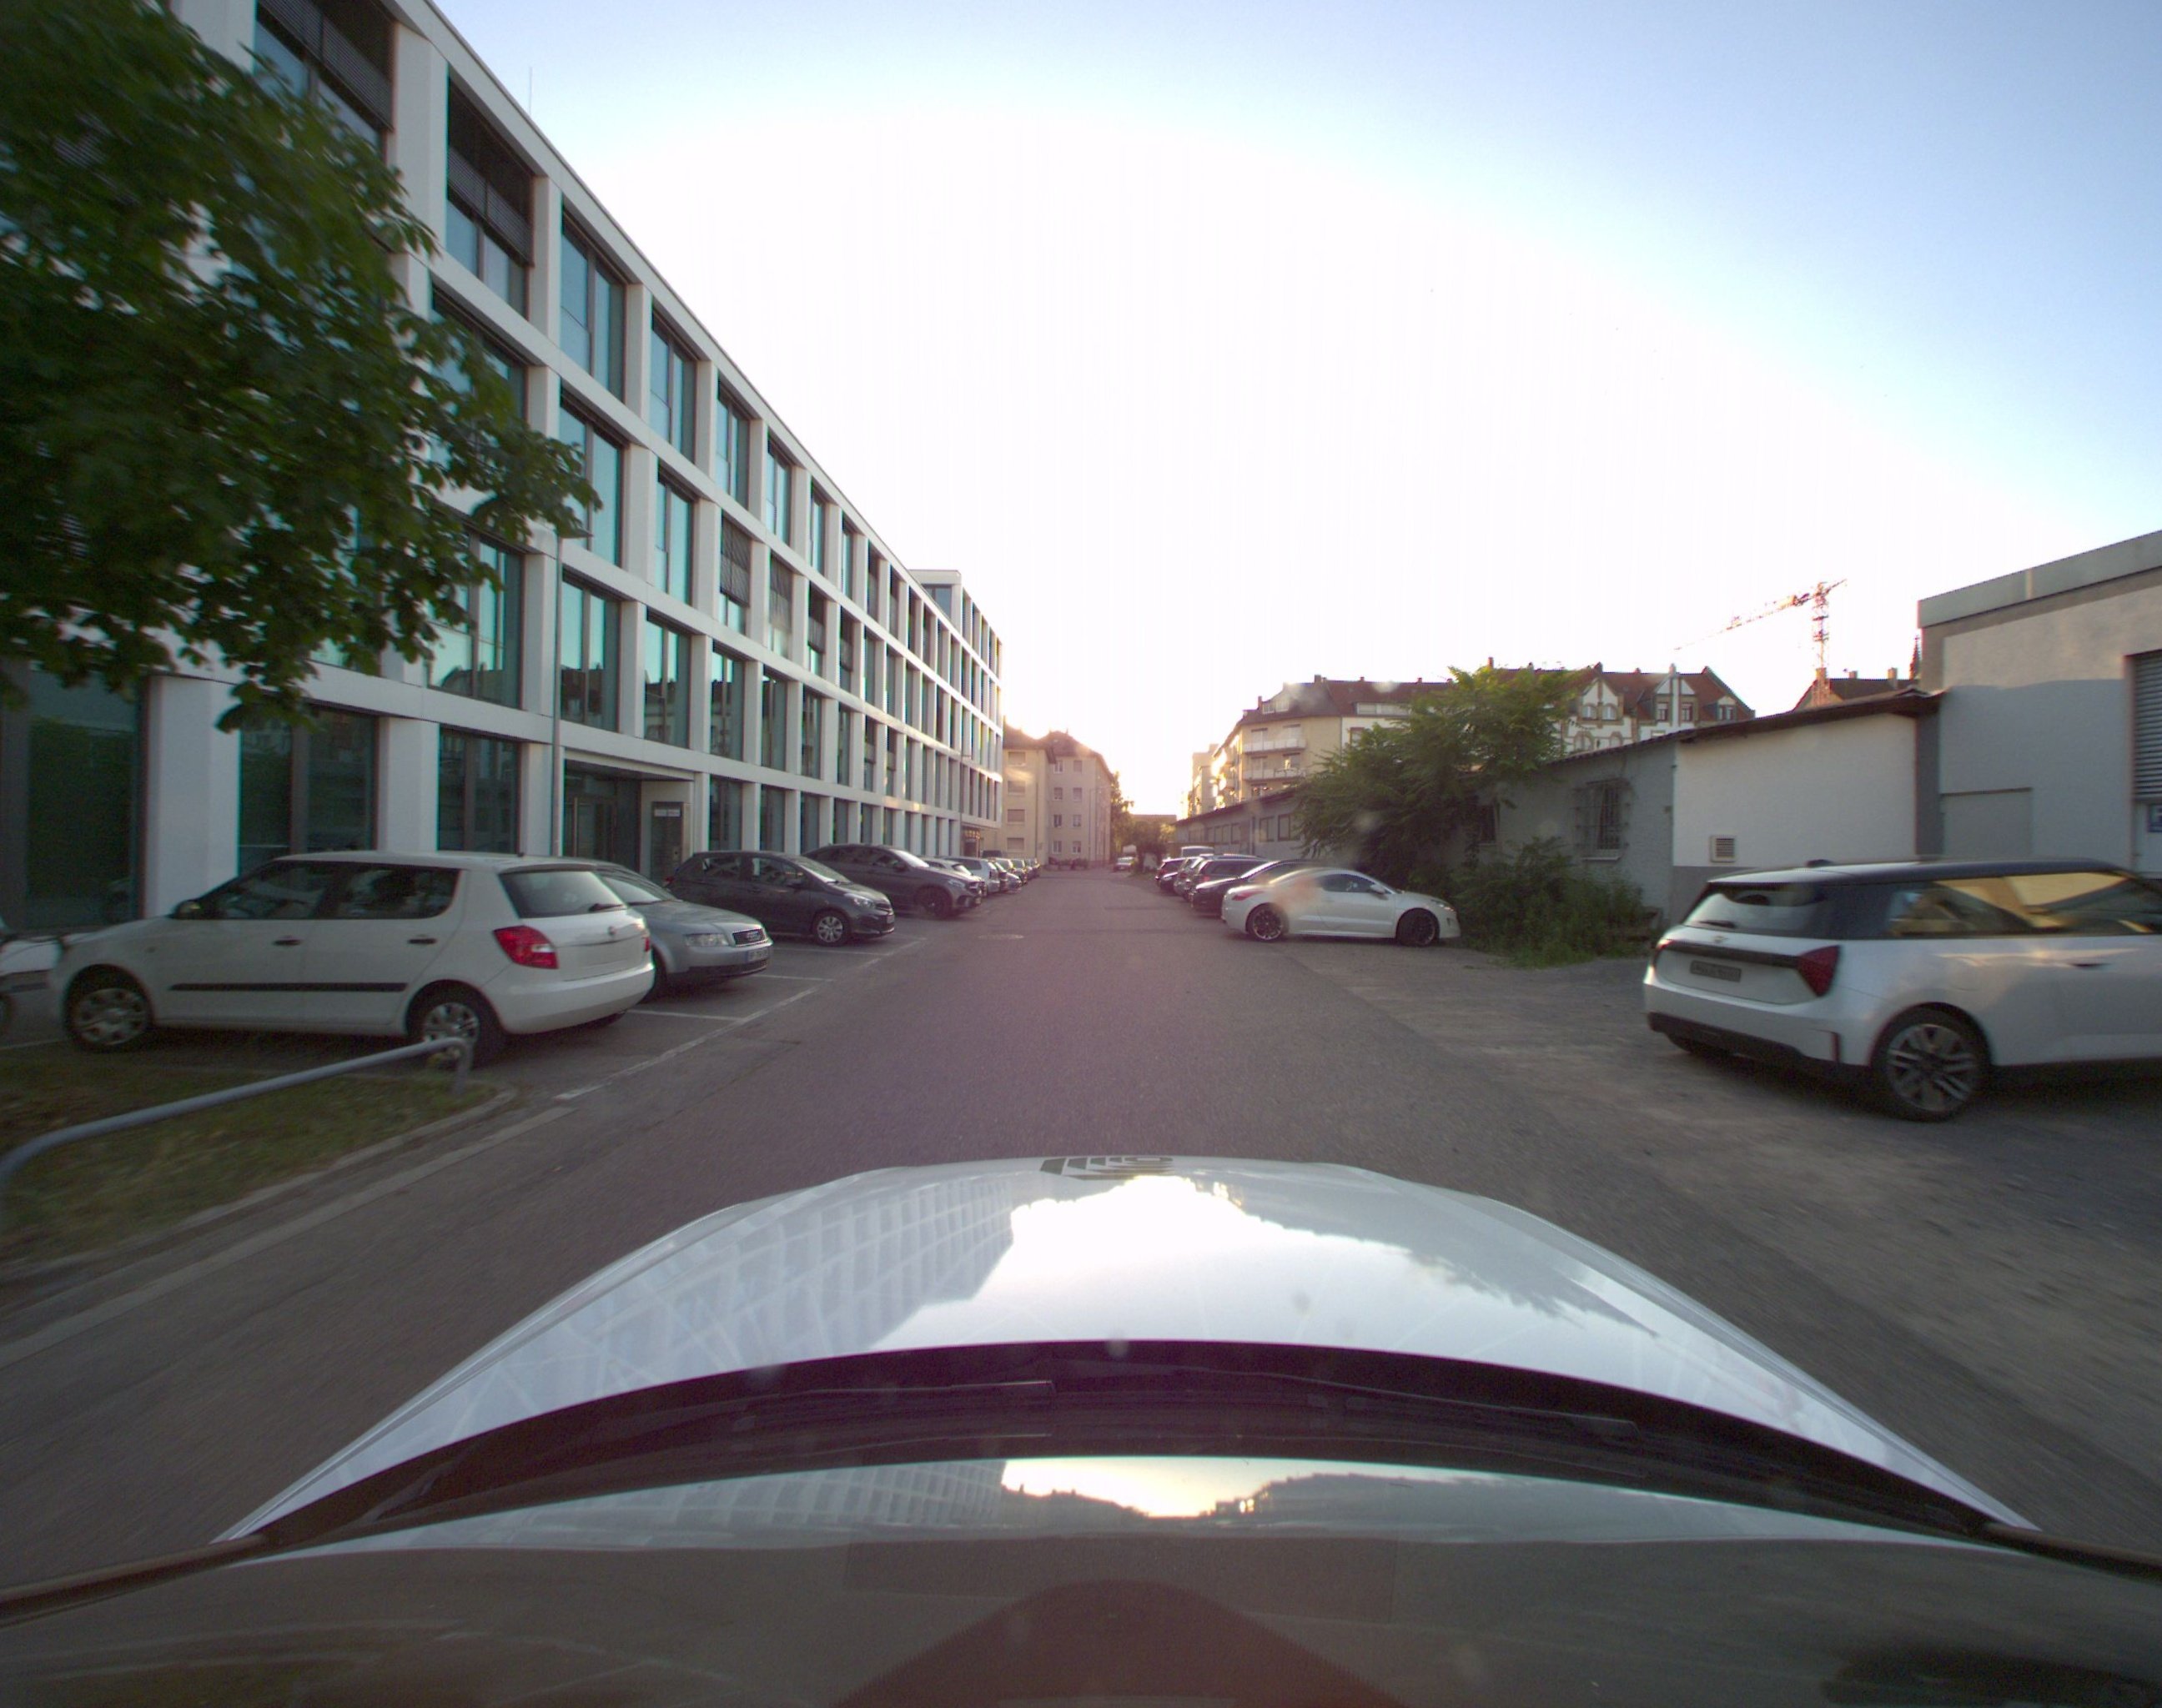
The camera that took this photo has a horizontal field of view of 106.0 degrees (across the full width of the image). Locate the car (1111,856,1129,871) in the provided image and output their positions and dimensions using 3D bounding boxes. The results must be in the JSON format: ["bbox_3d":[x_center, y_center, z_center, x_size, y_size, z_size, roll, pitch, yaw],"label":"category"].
[{"bbox_3d":[4.171,1.003,86.517,1.837,1.473,4.081,0,0,3],"label":"car"}]

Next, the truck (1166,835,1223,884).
[{"bbox_3d":[5.395,0.250,39.504,2.090,2.200,5.712,1,0,1],"label":"truck"}]

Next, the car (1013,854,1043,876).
[{"bbox_3d":[-3.873,0.783,60.233,1.773,1.479,4.332,4,0,1],"label":"car"}]

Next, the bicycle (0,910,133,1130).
[{"bbox_3d":[-5.988,0.855,4.408,0.677,0.915,1.892,1,1,-36],"label":"bicycle"}]

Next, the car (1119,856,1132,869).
[{"bbox_3d":[5.442,1.047,99.499,1.609,1.473,3.508,-1,0,3],"label":"car"}]

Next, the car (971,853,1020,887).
[{"bbox_3d":[-4.060,0.742,39.172,1.641,1.438,4.204,4,0,2],"label":"car"}]

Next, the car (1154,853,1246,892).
[{"bbox_3d":[5.095,0.768,35.280,3.744,1.535,1.893,1,1,2],"label":"car"}]

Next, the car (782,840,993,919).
[{"bbox_3d":[-4.683,0.577,20.125,4.595,1.706,2.008,2,0,6],"label":"car"}]

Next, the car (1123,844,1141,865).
[{"bbox_3d":[8.302,0.168,131.896,2.607,3.269,7.707,-1,0,5],"label":"car"}]

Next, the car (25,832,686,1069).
[{"bbox_3d":[-5.409,0.644,6.422,3.693,1.495,1.709,2,0,3],"label":"car"}]

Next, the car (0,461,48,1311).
[{"bbox_3d":[-6.092,0.042,1.738,5.357,2.632,2.081,2,0,4],"label":"car"}]

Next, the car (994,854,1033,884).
[{"bbox_3d":[-3.690,0.797,45.010,1.642,1.438,4.185,4,0,1],"label":"car"}]

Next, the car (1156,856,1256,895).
[{"bbox_3d":[4.969,0.847,32.847,3.747,1.444,1.845,2,-1,0],"label":"car"}]

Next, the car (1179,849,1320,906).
[{"bbox_3d":[5.193,0.714,25.398,3.974,1.619,1.825,2,0,-2],"label":"car"}]

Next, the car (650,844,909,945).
[{"bbox_3d":[-5.066,0.650,14.030,3.768,1.522,1.694,2,0,1],"label":"car"}]

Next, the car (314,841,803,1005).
[{"bbox_3d":[-5.576,0.667,9.035,4.288,1.495,1.797,2,0,4],"label":"car"}]

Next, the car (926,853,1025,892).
[{"bbox_3d":[-4.503,0.758,35.039,3.909,1.511,1.689,2,0,4],"label":"car"}]

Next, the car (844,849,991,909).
[{"bbox_3d":[-4.519,0.673,22.811,3.647,1.511,1.699,2,0,6],"label":"car"}]

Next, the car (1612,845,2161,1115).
[{"bbox_3d":[5.927,0.692,5.416,3.693,1.479,1.712,-1,0,-1],"label":"car"}]

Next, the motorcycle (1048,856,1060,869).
[{"bbox_3d":[-2.802,0.875,84.600,0.718,1.264,2.089,1,0,15],"label":"motorcycle"}]

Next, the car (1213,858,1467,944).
[{"bbox_3d":[4.634,0.819,15.087,4.183,1.367,1.826,1,0,5],"label":"car"}]

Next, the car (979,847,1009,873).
[{"bbox_3d":[-6.990,0.475,65.546,1.791,1.979,4.690,1,1,1],"label":"car"}]

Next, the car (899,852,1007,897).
[{"bbox_3d":[-4.700,0.738,30.266,3.639,1.511,1.689,2,0,3],"label":"car"}]

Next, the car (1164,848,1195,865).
[{"bbox_3d":[16.086,0.363,132.810,4.799,2.717,2.136,-1,-1,1],"label":"car"}]

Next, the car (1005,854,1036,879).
[{"bbox_3d":[-4.002,0.828,54.553,1.705,1.479,4.182,4,0,-1],"label":"car"}]

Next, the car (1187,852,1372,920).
[{"bbox_3d":[4.825,0.766,20.247,4.185,1.503,1.891,1,-1,3],"label":"car"}]

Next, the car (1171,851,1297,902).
[{"bbox_3d":[5.185,0.750,28.004,3.971,1.609,1.939,2,0,0],"label":"car"}]

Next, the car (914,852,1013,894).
[{"bbox_3d":[-4.684,0.738,32.734,3.639,1.511,1.689,2,0,3],"label":"car"}]

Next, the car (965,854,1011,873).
[{"bbox_3d":[-8.556,0.844,74.873,3.994,1.617,1.881,0,4,-1],"label":"car"}]

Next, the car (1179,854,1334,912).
[{"bbox_3d":[4.808,0.785,22.726,3.969,1.445,1.828,1,-1,1],"label":"car"}]

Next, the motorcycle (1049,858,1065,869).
[{"bbox_3d":[-2.375,0.986,82.260,0.717,1.079,2.093,0,0,25],"label":"motorcycle"}]

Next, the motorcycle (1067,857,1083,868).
[{"bbox_3d":[-0.625,0.901,84.673,0.682,1.160,2.046,0,0,29],"label":"motorcycle"}]

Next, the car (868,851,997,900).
[{"bbox_3d":[-5.007,0.707,27.859,3.946,1.511,1.798,2,0,4],"label":"car"}]
